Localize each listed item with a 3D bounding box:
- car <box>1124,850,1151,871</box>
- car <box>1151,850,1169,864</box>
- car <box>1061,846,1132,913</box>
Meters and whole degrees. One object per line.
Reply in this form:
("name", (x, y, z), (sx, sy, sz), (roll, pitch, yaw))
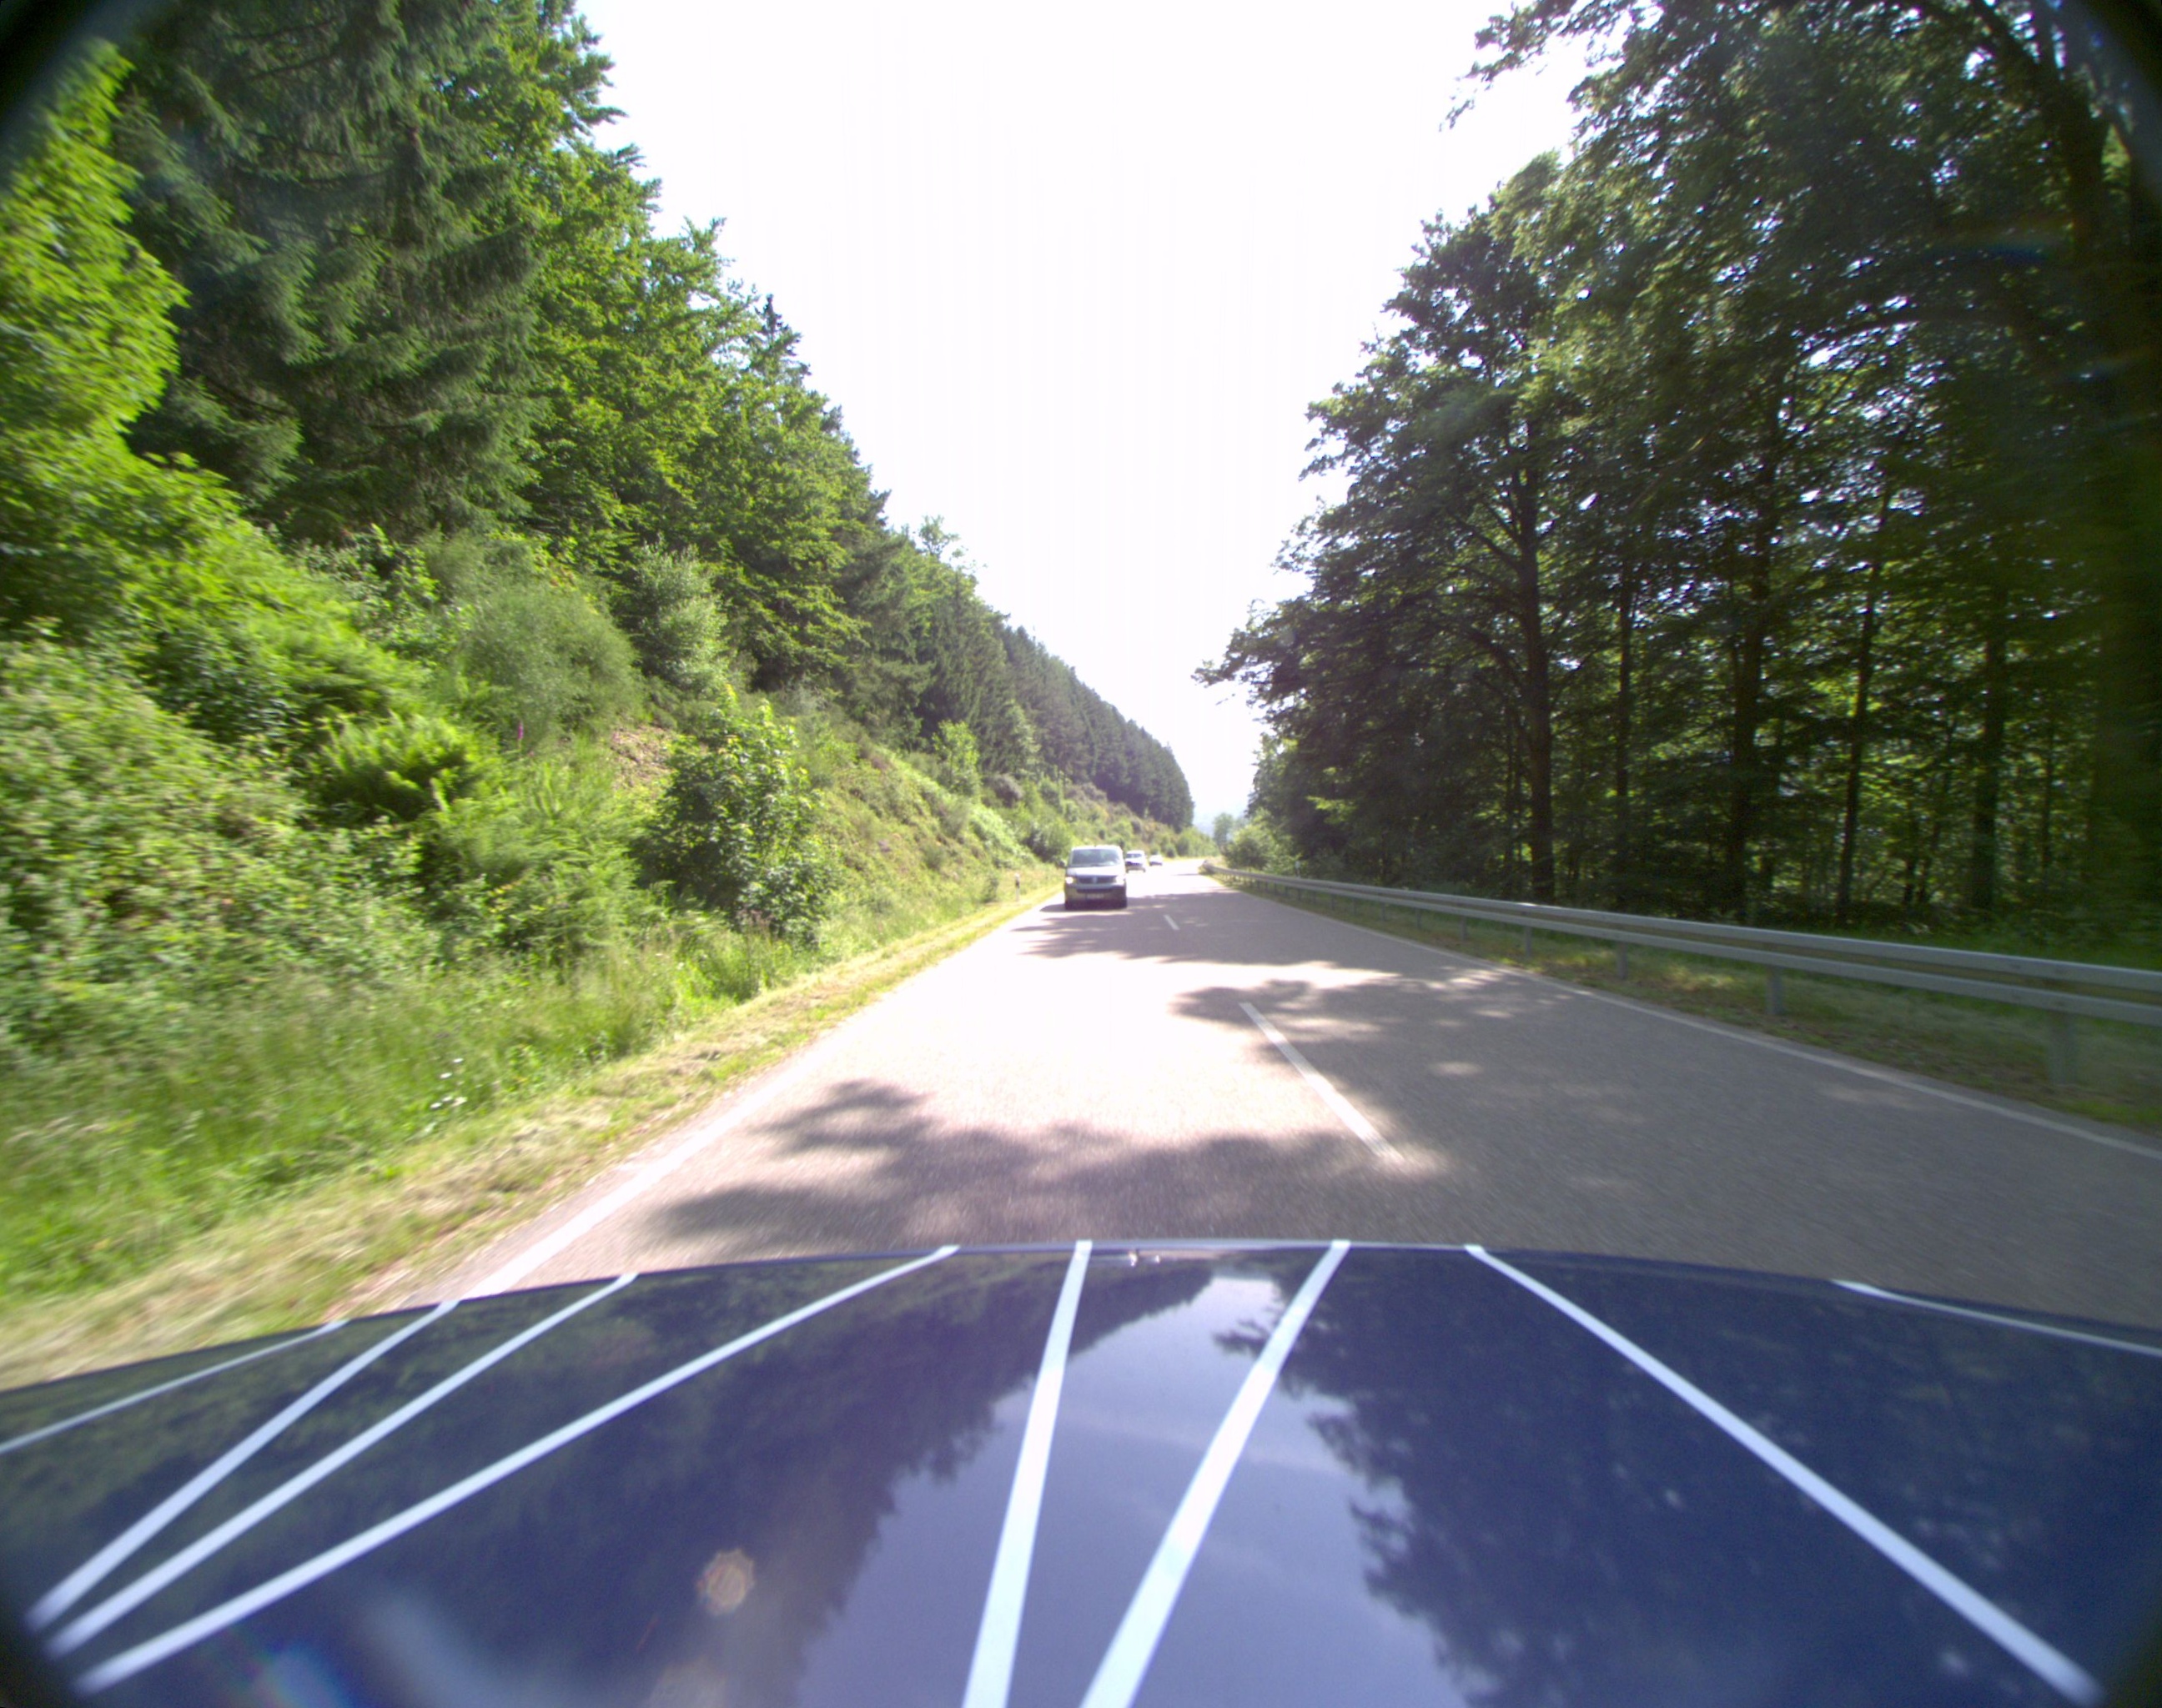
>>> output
("car", (5.068, 0.539, 67.558), (2.136, 1.824, 4.725), (-1, 0, 7))
("car", (10.312, 0.428, 99.112), (1.997, 1.718, 4.003), (-1, 0, 10))
("car", (0.589, 0.739, 24.209), (1.990, 1.899, 4.761), (-1, 0, 3))
